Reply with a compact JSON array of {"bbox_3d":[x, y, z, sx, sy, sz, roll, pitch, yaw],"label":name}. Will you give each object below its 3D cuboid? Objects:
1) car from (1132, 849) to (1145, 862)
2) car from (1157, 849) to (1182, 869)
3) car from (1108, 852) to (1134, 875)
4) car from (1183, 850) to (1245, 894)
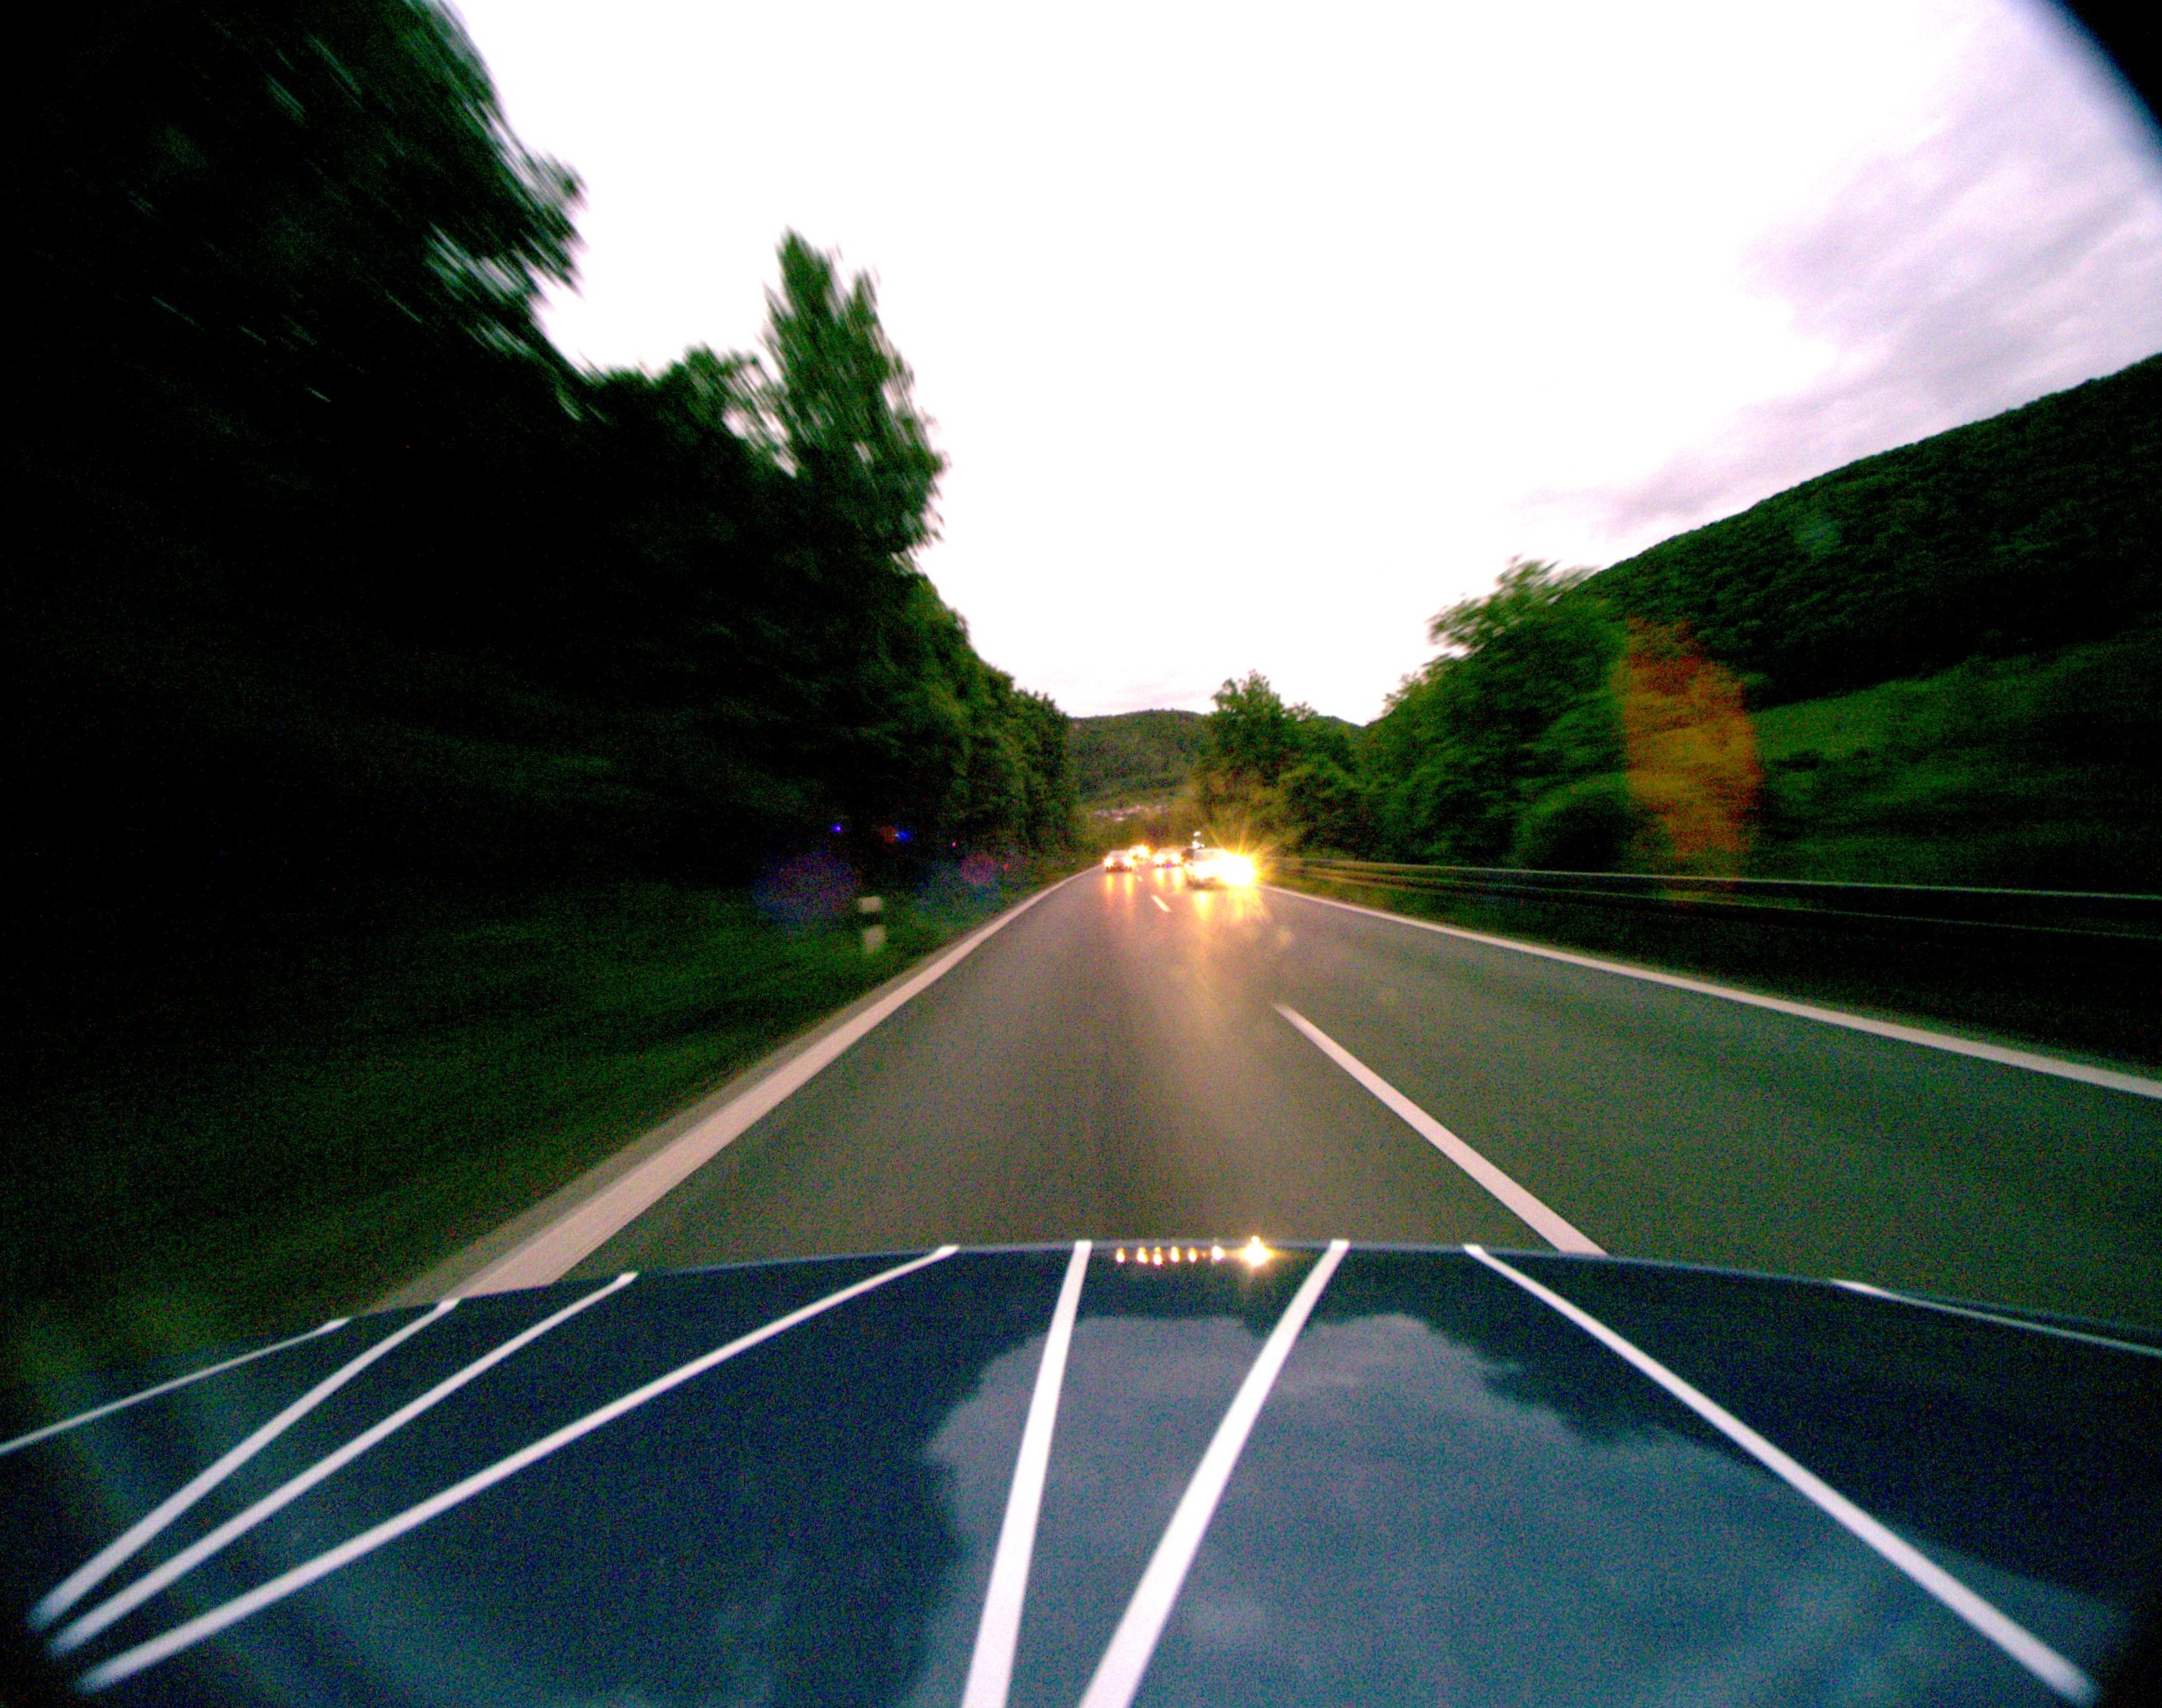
[{"bbox_3d":[7.836,0.200,103.533,1.737,1.641,3.669,-4,1,4],"label":"car"},{"bbox_3d":[6.937,0.381,60.134,1.690,1.425,3.669,-4,1,4],"label":"car"},{"bbox_3d":[2.833,0.627,54.036,1.690,1.443,3.668,-4,1,2],"label":"car"},{"bbox_3d":[4.969,0.630,28.873,1.690,1.460,3.767,-4,1,1],"label":"car"}]
